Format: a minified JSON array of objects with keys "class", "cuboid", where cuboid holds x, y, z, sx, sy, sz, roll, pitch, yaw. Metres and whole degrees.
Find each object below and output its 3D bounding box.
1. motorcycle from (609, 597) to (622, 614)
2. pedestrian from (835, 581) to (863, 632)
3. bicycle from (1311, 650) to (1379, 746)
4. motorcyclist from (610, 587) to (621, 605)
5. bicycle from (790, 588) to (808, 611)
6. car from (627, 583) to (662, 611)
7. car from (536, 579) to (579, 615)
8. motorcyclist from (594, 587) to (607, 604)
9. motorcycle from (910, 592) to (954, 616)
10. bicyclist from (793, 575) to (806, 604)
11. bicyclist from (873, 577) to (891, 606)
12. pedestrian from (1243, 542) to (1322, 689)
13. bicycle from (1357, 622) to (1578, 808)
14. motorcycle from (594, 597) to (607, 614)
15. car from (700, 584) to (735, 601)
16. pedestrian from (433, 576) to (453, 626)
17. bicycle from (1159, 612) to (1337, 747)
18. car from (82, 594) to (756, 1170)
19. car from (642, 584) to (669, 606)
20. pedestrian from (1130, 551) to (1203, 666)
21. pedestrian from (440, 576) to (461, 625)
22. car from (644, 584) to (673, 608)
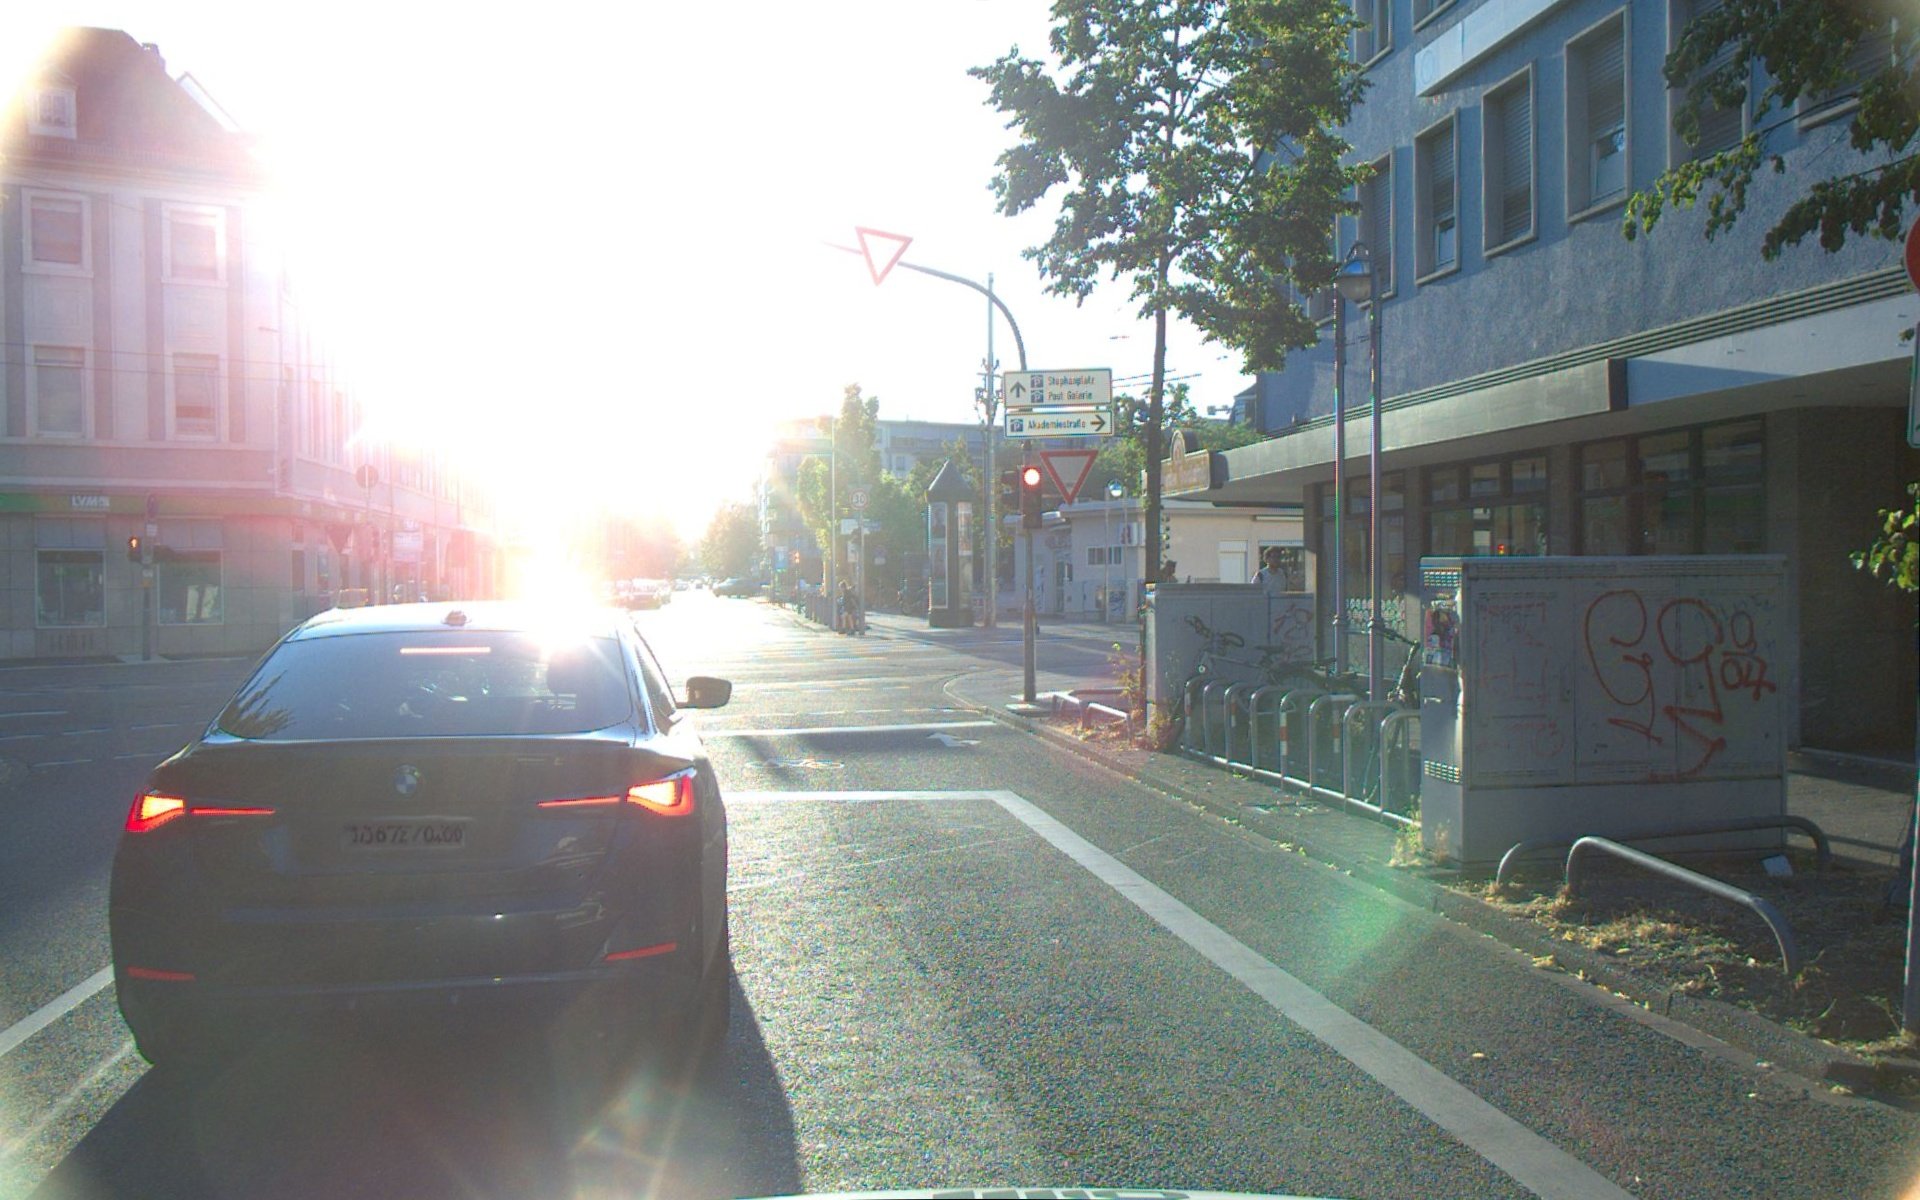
[{"class":"motorcycle","cuboid":[-19.470,0.306,93.468,0.564,0.931,2.196,1,0,-8]},{"class":"pedestrian","cuboid":[-3.377,0.201,50.241,0.723,1.555,0.469,1,0,-26]},{"class":"bicycle","cuboid":[3.562,0.895,15.345,0.244,0.810,1.114,1,0,-7]},{"class":"motorcyclist","cuboid":[-19.442,-0.234,93.370,0.564,1.013,0.701,1,0,-9]},{"class":"bicycle","cuboid":[-8.612,-0.017,88.291,0.541,1.179,2.134,1,0,-17]},{"class":"car","cuboid":[-17.971,-0.197,94.347,1.784,1.545,3.992,-1,1,-9]},{"class":"car","cuboid":[-21.090,-0.188,86.784,1.784,1.819,3.992,-1,1,-9]},{"class":"motorcyclist","cuboid":[-20.389,-0.252,93.829,0.564,0.931,2.196,1,0,-8]},{"class":"motorcycle","cuboid":[-1.147,0.145,67.883,1.644,0.955,0.851,-1,1,-20]},{"class":"bicyclist","cuboid":[-8.543,-0.553,88.073,0.541,1.507,0.719,1,0,-17]},{"class":"bicyclist","cuboid":[-4.167,-0.471,88.589,0.865,1.532,0.612,1,0,3]},{"class":"pedestrian","cuboid":[4.227,0.195,21.726,0.820,1.874,0.677,-1,0,-9]},{"class":"bicycle","cuboid":[3.488,0.785,11.385,1.413,1.241,0.383,1,0,-8]},{"class":"motorcycle","cuboid":[-20.402,0.289,93.827,0.564,0.931,2.196,1,0,-8]},{"class":"car","cuboid":[-23.417,-0.715,160.096,1.779,1.545,4.002,-1,1,17]},{"class":"pedestrian","cuboid":[-19.858,0.028,63.563,0.631,1.909,0.630,1,0,-9]},{"class":"bicycle","cuboid":[2.643,0.722,15.186,1.582,1.191,0.318,-1,0,-7]},{"class":"car","cuboid":[-1.754,0.715,6.457,1.705,1.453,4.214,0,0,-10]},{"class":"car","cuboid":[-22.599,-0.381,122.886,1.784,1.545,3.992,-1,1,-9]},{"class":"pedestrian","cuboid":[3.538,0.131,28.302,0.990,1.892,0.634,-4,2,-29]},{"class":"pedestrian","cuboid":[-19.826,0.026,64.359,0.610,1.909,0.670,1,0,-34]},{"class":"car","cuboid":[-20.591,-0.294,112.935,1.784,1.545,3.992,-1,1,-9]}]
